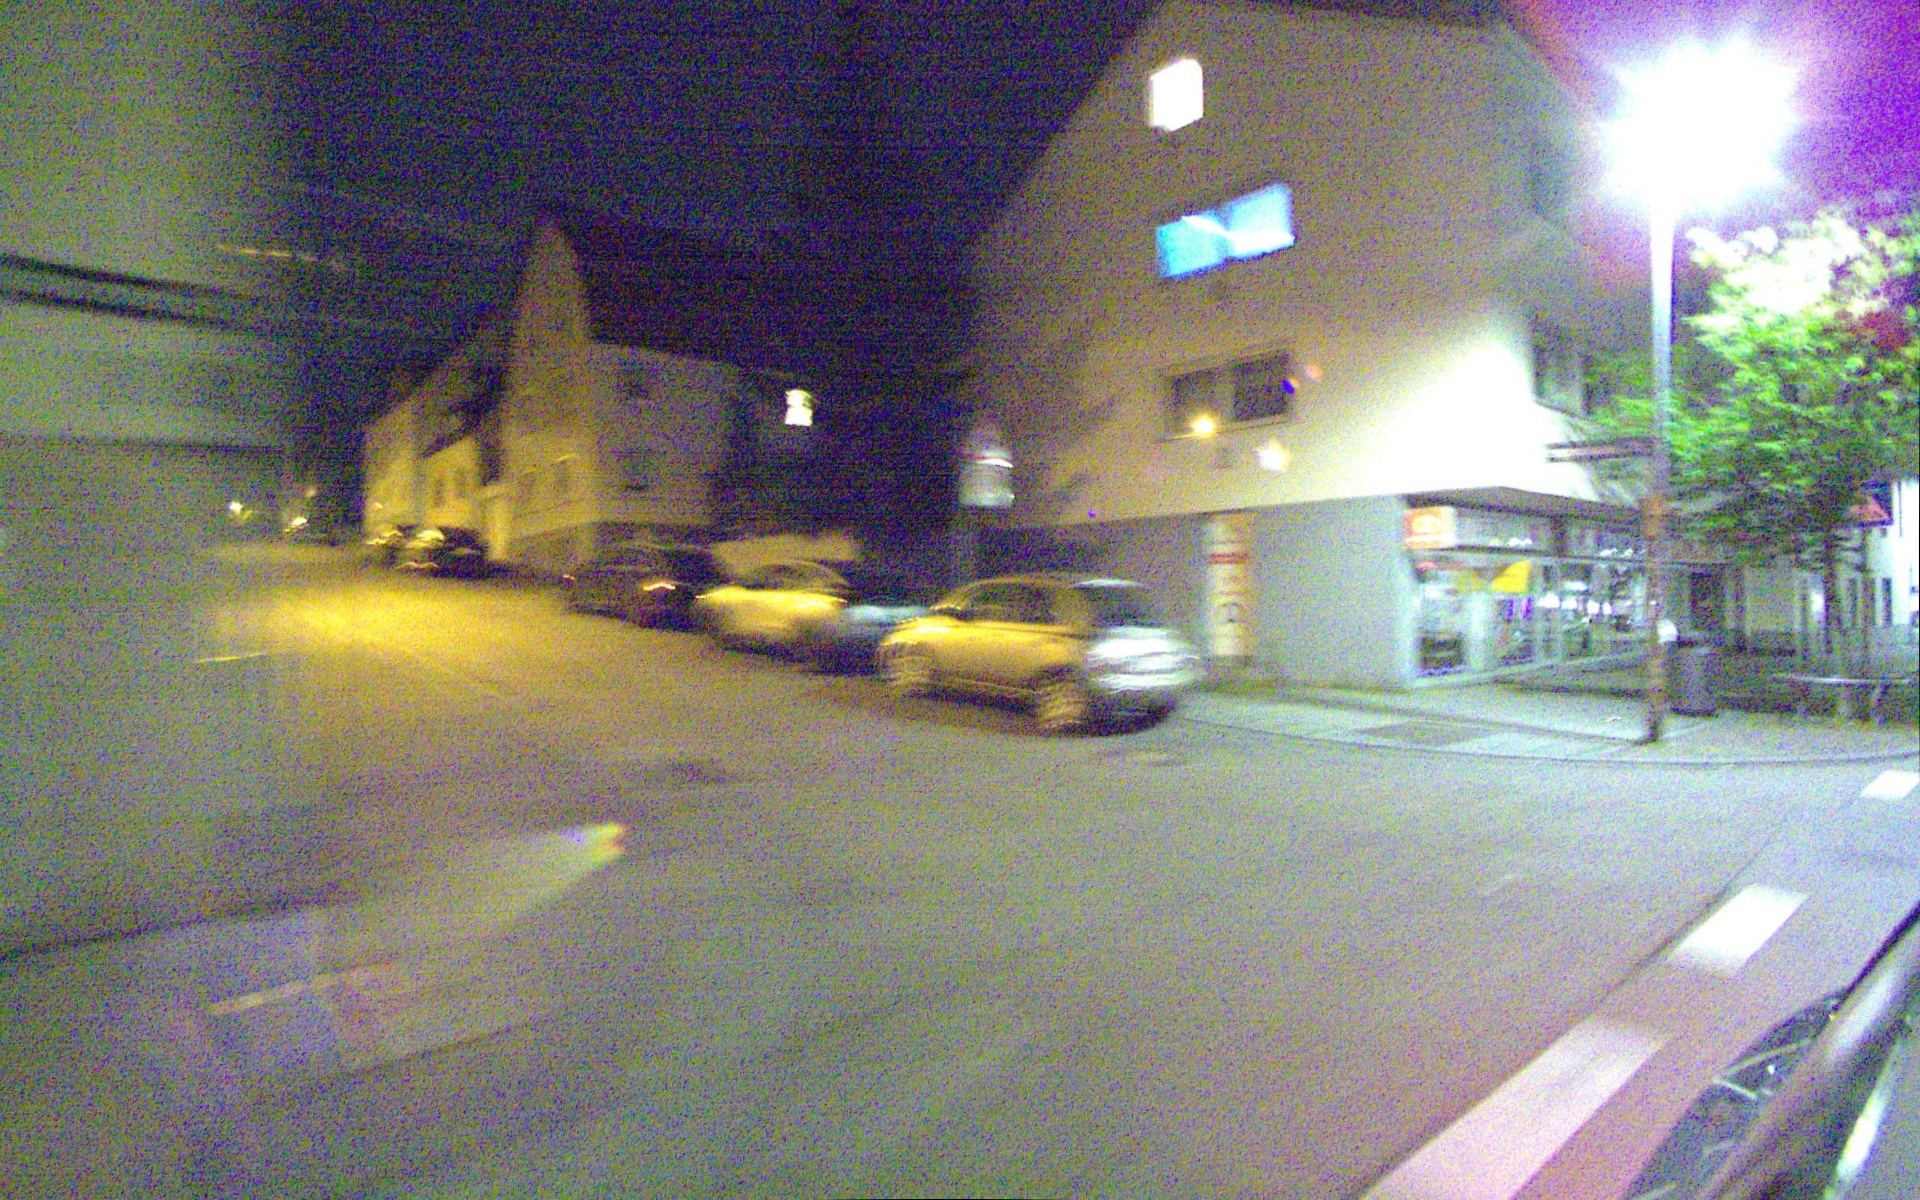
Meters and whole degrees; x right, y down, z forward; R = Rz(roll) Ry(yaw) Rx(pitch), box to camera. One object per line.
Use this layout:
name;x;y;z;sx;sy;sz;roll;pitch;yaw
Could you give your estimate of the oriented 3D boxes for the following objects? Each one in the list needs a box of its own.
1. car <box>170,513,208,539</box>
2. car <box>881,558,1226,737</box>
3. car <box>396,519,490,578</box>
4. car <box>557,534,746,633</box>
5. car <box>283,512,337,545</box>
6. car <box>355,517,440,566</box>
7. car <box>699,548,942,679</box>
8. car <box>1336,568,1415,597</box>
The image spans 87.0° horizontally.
car;-52.697;-5.085;69.146;1.761;1.562;4.090;2;3;-41
car;0.904;0.384;11.209;1.789;1.543;3.513;0;3;-41
car;-15.884;-1.603;30.983;1.599;1.577;4.089;1;4;-41
car;-5.933;-0.385;19.121;1.649;1.489;4.367;-1;5;-43
car;-33.680;-3.723;52.406;1.762;1.462;4.089;1;3;-41
car;-19.945;-2.101;35.813;1.762;1.502;4.089;2;3;-41
car;-2.132;0.089;14.657;1.648;1.514;3.853;0;4;-41
car;24.013;-1.059;58.579;1.697;1.452;3.808;-1;5;-40
